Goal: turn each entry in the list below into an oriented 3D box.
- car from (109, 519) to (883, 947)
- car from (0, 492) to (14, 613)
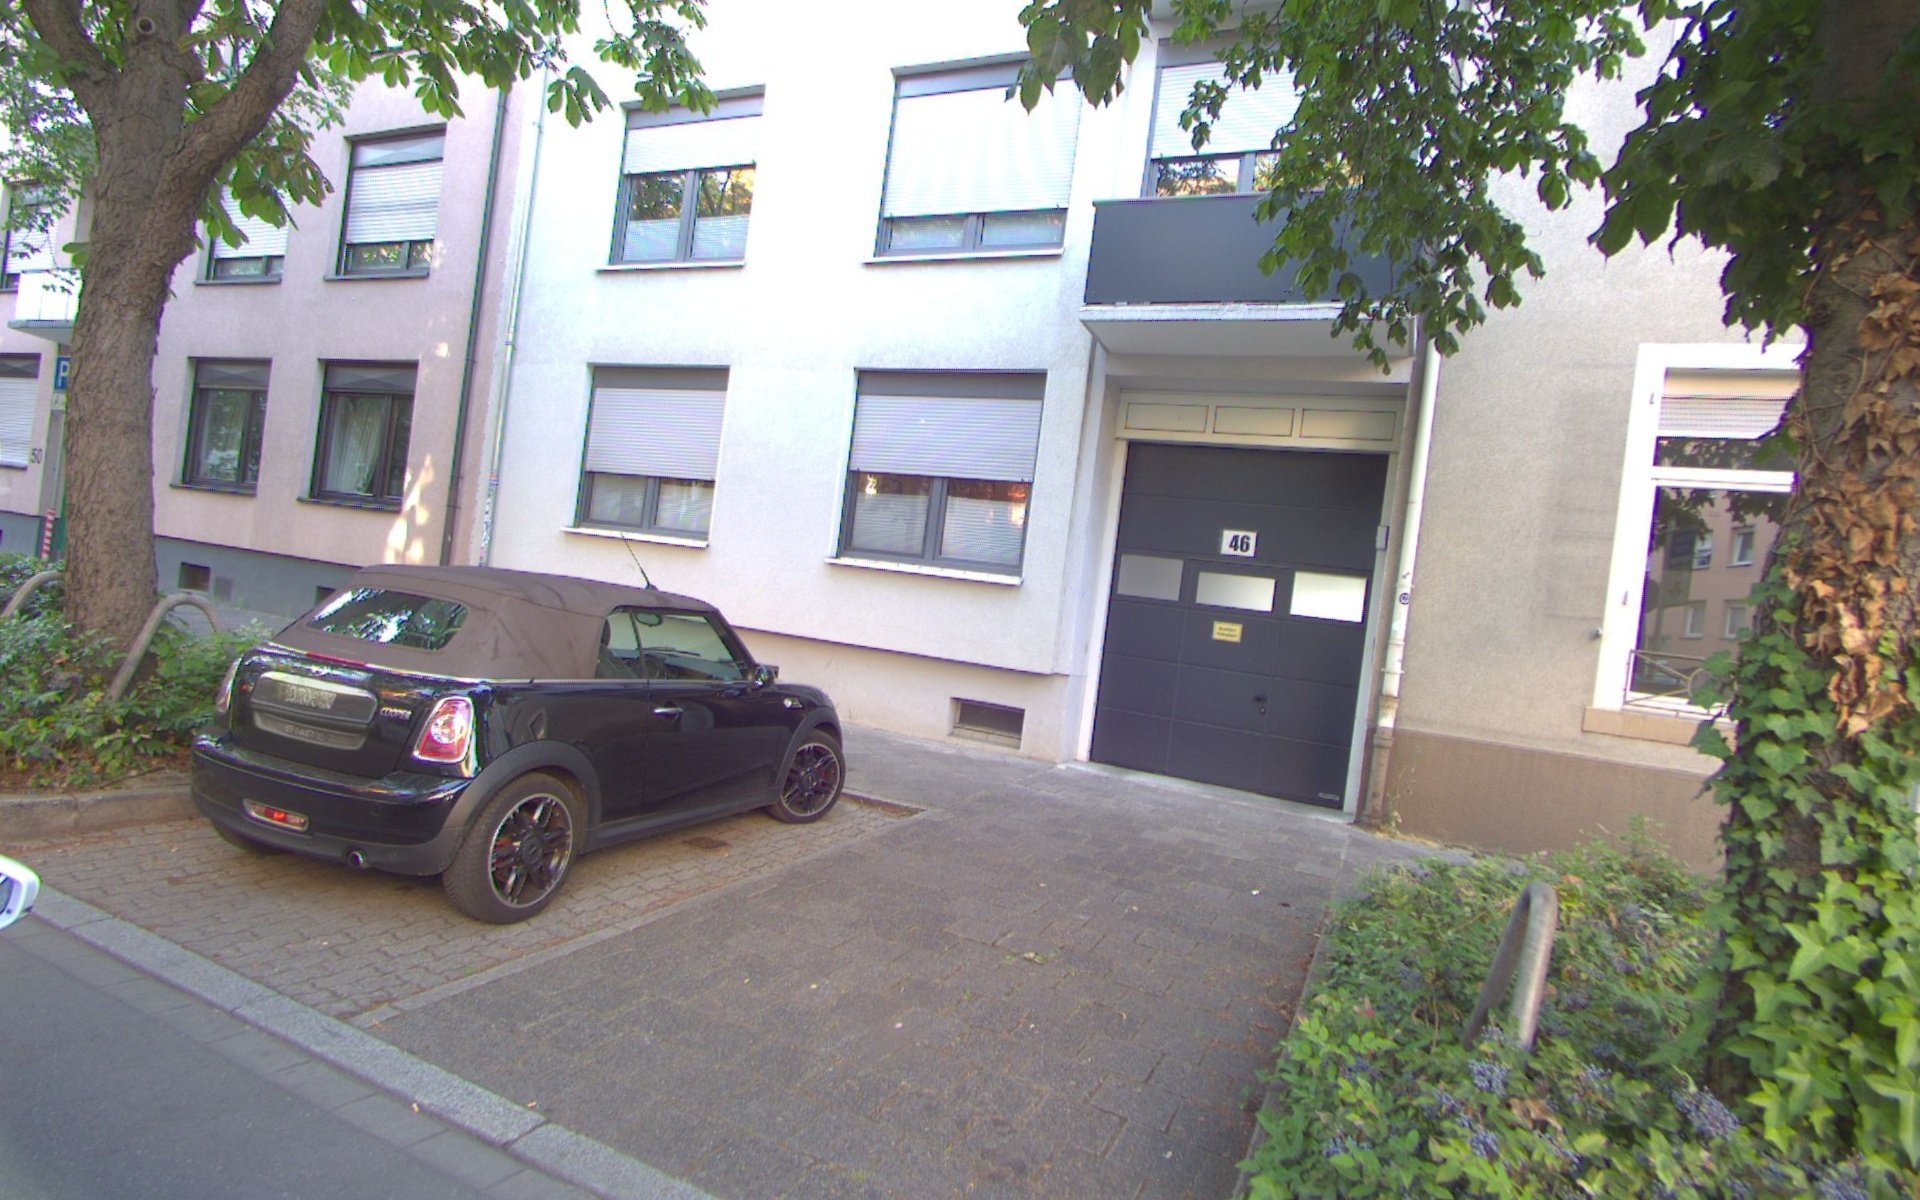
[{"bbox_3d":[-2.023,0.557,5.525,1.634,1.380,3.622,7,-1,22],"label":"car"},{"bbox_3d":[-13.353,-0.796,11.038,1.634,1.494,3.921,7,-1,24],"label":"car"}]
